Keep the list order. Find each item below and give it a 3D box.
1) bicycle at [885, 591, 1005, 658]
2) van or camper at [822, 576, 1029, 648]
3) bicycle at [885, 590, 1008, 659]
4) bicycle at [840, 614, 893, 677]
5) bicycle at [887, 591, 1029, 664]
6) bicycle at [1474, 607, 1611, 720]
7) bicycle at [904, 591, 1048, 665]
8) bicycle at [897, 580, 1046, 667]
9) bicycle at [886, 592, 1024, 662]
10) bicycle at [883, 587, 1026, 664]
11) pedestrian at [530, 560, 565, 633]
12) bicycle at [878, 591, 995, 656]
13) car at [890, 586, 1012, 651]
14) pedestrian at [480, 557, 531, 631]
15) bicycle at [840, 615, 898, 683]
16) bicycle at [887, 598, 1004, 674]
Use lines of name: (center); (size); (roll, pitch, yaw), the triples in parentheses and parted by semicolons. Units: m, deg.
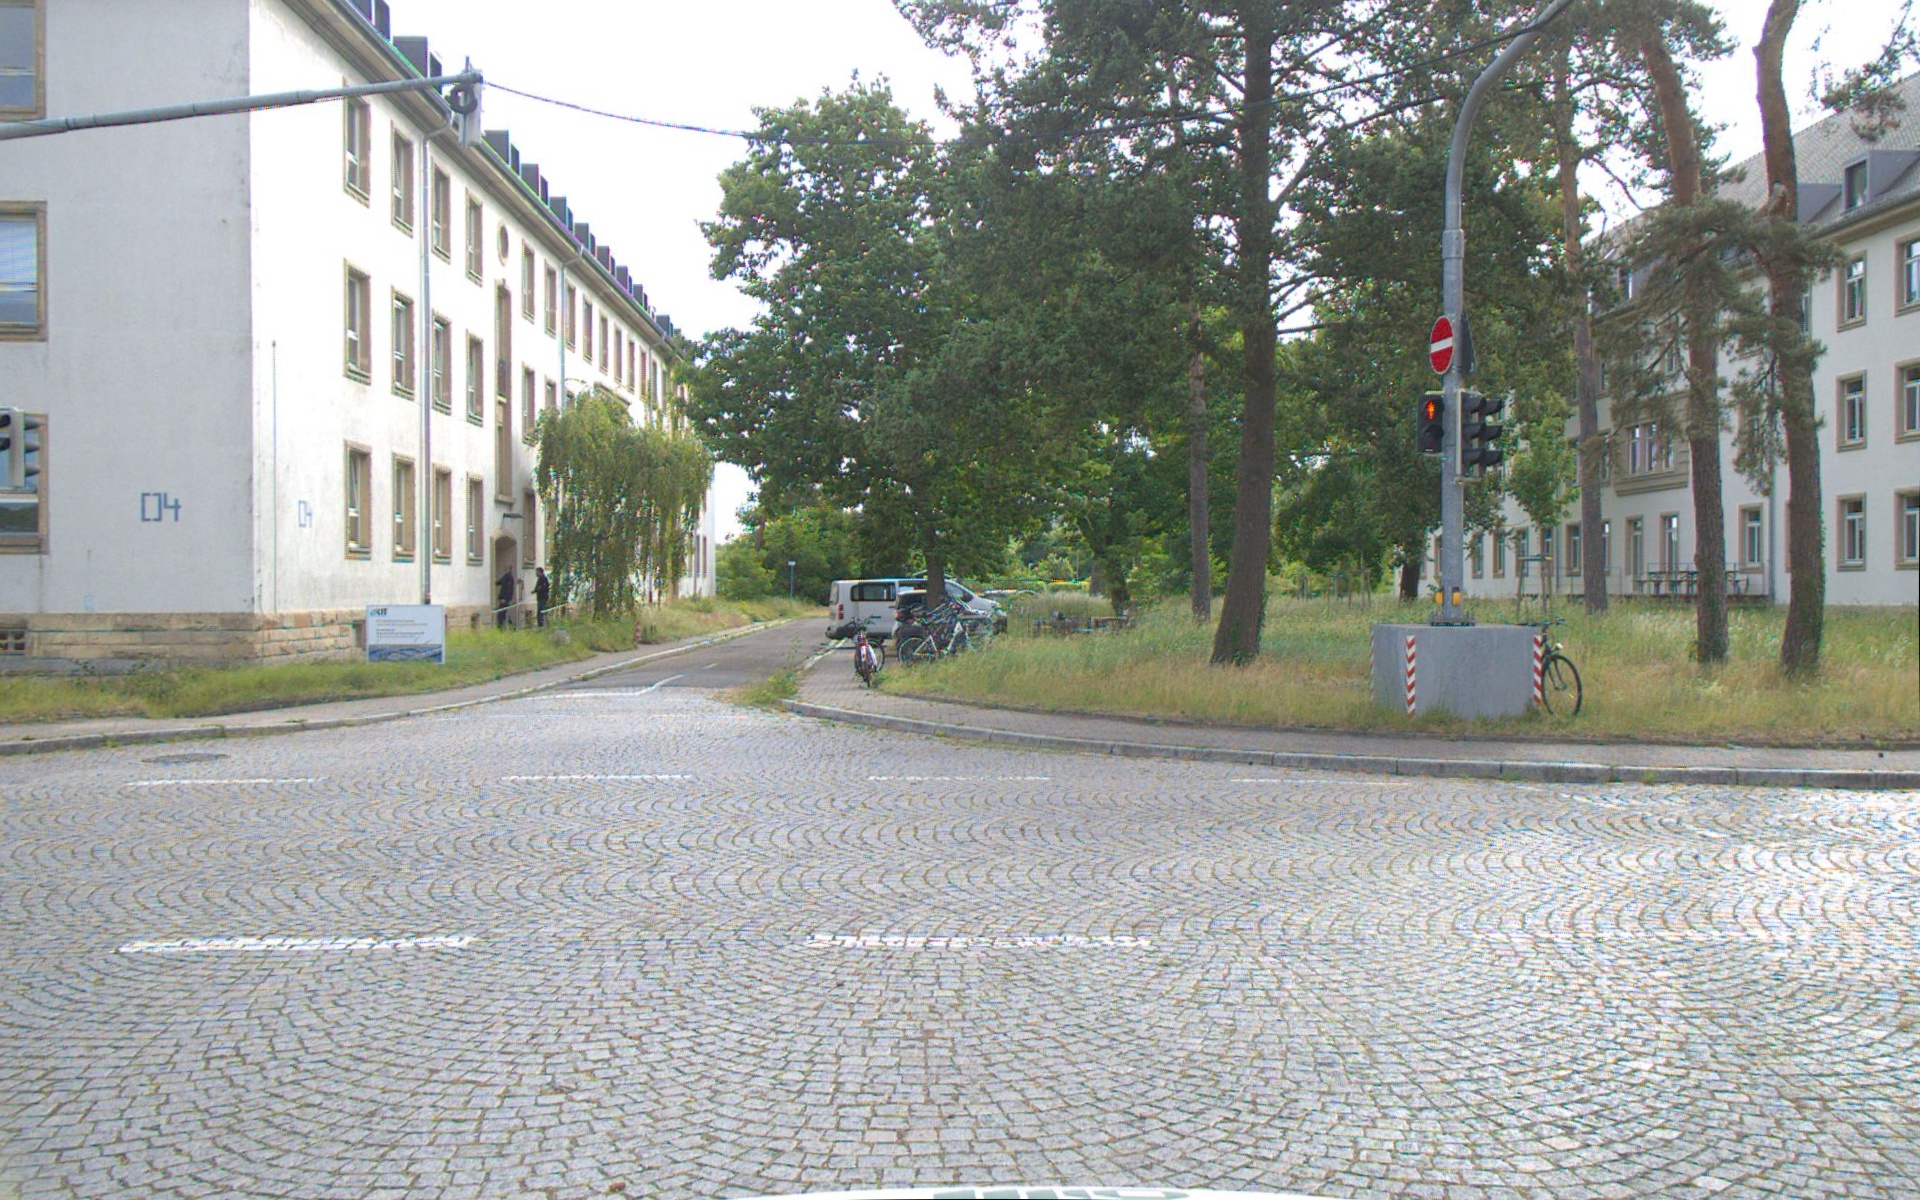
bicycle: (-0.335, 0.505, 35.233); (2.517, 1.396, 0.950); (0, 0, -4)
van or camper: (-1.010, 0.309, 47.683); (5.645, 1.991, 2.229); (0, 0, -15)
bicycle: (-0.291, 0.504, 34.394); (2.517, 1.396, 0.950); (0, 0, -4)
bicycle: (-1.586, 0.757, 28.250); (0.712, 1.014, 1.979); (0, 0, 2)
bicycle: (-0.051, 0.531, 32.546); (2.746, 1.396, 0.950); (0, 0, -3)
bicycle: (6.210, 0.649, 17.748); (0.632, 1.081, 1.832); (-4, 0, -5)
bicycle: (0.288, 0.536, 32.025); (2.746, 1.396, 0.950); (0, 0, -3)
bicycle: (0.196, 0.435, 31.091); (2.746, 1.611, 0.950); (0, 0, -3)
bicycle: (-0.112, 0.533, 33.438); (2.746, 1.396, 0.950); (0, 0, -3)
bicycle: (-0.112, 0.456, 30.208); (2.567, 1.391, 0.874); (0, 0, -3)
pedestrian: (-11.262, -0.093, 45.212); (0.850, 1.966, 0.834); (2, 0, -14)
bicycle: (-0.526, 0.504, 36.063); (2.517, 1.396, 0.950); (0, 0, -4)
car: (-0.266, 0.493, 44.183); (3.160, 1.649, 1.936); (1, 0, -3)
pedestrian: (-12.056, -0.159, 43.930); (1.173, 1.902, 1.545); (1, 0, -12)
bicycle: (-1.436, 0.753, 26.163); (0.882, 1.014, 1.978); (0, 0, -3)
bicycle: (-0.276, 0.630, 29.590); (2.070, 1.329, 0.874); (0, 0, -3)
